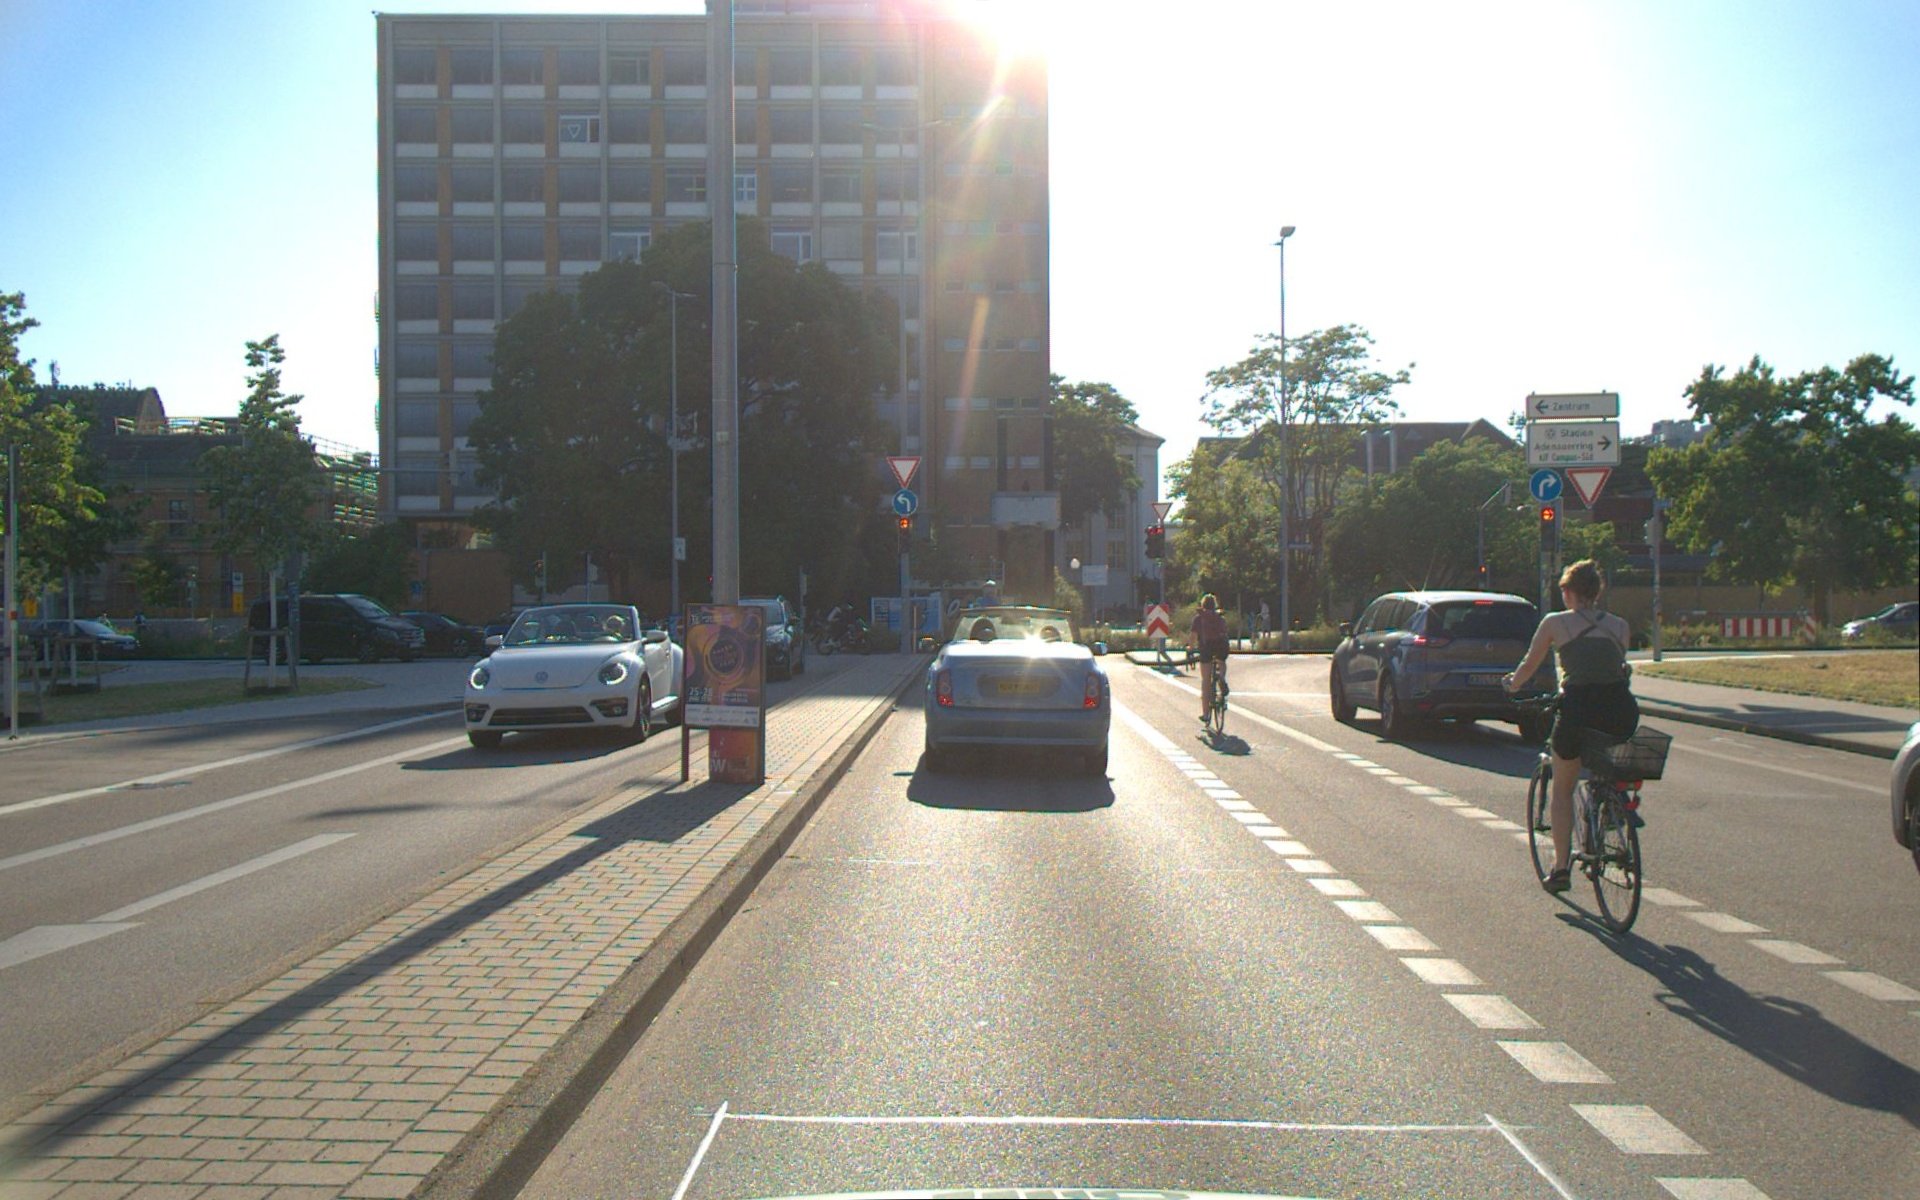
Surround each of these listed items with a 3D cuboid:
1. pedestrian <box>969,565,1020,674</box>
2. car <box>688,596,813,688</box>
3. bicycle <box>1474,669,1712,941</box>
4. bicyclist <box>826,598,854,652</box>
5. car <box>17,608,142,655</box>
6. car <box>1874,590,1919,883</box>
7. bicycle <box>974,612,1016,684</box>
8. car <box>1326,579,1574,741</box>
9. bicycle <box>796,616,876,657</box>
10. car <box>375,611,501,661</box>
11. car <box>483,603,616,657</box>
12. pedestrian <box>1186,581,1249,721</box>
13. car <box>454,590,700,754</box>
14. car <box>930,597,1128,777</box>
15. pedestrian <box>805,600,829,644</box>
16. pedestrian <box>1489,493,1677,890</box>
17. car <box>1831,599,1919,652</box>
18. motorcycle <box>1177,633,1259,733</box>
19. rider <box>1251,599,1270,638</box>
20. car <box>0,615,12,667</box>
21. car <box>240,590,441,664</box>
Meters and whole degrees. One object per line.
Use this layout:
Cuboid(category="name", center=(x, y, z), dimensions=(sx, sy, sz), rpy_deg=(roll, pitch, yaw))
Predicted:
Cuboid(category="pedestrian", center=(0.619, 0.351, 29.415), dimensions=(0.816, 1.902, 0.921), rpy_deg=(1, -1, 5))
Cuboid(category="car", center=(-3.806, 0.728, 30.696), dimensions=(1.762, 1.557, 4.000), rpy_deg=(-2, 0, 0))
Cuboid(category="bicycle", center=(3.164, 0.964, 8.449), dimensions=(0.552, 1.171, 1.950), rpy_deg=(1, -1, 3))
Cuboid(category="bicyclist", center=(-3.709, 0.775, 51.081), dimensions=(0.735, 1.626, 0.590), rpy_deg=(1, -1, 7))
Cuboid(category="car", center=(-30.782, 1.082, 57.881), dimensions=(3.512, 1.588, 1.651), rpy_deg=(-1, 0, 6))
Cuboid(category="car", center=(6.242, 0.751, 7.496), dimensions=(1.750, 1.622, 4.328), rpy_deg=(1, -1, -1))
Cuboid(category="bicycle", center=(0.634, 0.838, 29.334), dimensions=(0.595, 1.212, 2.415), rpy_deg=(1, -1, 4))
Cuboid(category="car", center=(5.809, 0.693, 20.160), dimensions=(1.793, 1.719, 4.369), rpy_deg=(1, -1, 1))
Cuboid(category="bicycle", center=(-3.819, 1.128, 51.087), dimensions=(2.355, 1.212, 0.610), rpy_deg=(1, -1, 7))
Cuboid(category="car", center=(-17.054, 1.163, 54.114), dimensions=(3.561, 1.588, 1.601), rpy_deg=(-1, 0, 6))
Cuboid(category="car", center=(-12.520, 0.915, 50.472), dimensions=(3.560, 1.588, 1.651), rpy_deg=(-1, 0, 11))
Cuboid(category="pedestrian", center=(3.089, 0.610, 19.914), dimensions=(0.575, 1.626, 1.024), rpy_deg=(1, -1, 0))
Cuboid(category="car", center=(-4.075, 0.705, 18.240), dimensions=(1.762, 1.557, 3.999), rpy_deg=(-2, 0, 0))
Cuboid(category="car", center=(0.543, 0.761, 15.832), dimensions=(1.626, 1.466, 4.153), rpy_deg=(1, -1, -1))
Cuboid(category="pedestrian", center=(-6.290, 0.957, 72.804), dimensions=(0.851, 1.902, 0.661), rpy_deg=(1, -1, 12))
Cuboid(category="pedestrian", center=(3.143, 0.446, 8.411), dimensions=(0.645, 1.902, 0.873), rpy_deg=(1, -1, 2))
Cuboid(category="car", center=(29.072, 0.768, 51.023), dimensions=(3.560, 1.588, 1.651), rpy_deg=(-1, 0, 10))
Cuboid(category="motorcycle", center=(3.084, 0.965, 19.949), dimensions=(0.601, 1.117, 2.360), rpy_deg=(1, -1, 0))
Cuboid(category="rider", center=(12.473, 0.774, 68.600), dimensions=(0.735, 1.626, 0.590), rpy_deg=(1, -1, 12))
Cuboid(category="car", center=(-31.498, 1.293, 51.705), dimensions=(3.519, 1.588, 1.643), rpy_deg=(-1, 0, 28))
Cuboid(category="car", center=(-17.463, 0.760, 46.643), dimensions=(5.046, 1.927, 2.247), rpy_deg=(-2, 0, 21))
